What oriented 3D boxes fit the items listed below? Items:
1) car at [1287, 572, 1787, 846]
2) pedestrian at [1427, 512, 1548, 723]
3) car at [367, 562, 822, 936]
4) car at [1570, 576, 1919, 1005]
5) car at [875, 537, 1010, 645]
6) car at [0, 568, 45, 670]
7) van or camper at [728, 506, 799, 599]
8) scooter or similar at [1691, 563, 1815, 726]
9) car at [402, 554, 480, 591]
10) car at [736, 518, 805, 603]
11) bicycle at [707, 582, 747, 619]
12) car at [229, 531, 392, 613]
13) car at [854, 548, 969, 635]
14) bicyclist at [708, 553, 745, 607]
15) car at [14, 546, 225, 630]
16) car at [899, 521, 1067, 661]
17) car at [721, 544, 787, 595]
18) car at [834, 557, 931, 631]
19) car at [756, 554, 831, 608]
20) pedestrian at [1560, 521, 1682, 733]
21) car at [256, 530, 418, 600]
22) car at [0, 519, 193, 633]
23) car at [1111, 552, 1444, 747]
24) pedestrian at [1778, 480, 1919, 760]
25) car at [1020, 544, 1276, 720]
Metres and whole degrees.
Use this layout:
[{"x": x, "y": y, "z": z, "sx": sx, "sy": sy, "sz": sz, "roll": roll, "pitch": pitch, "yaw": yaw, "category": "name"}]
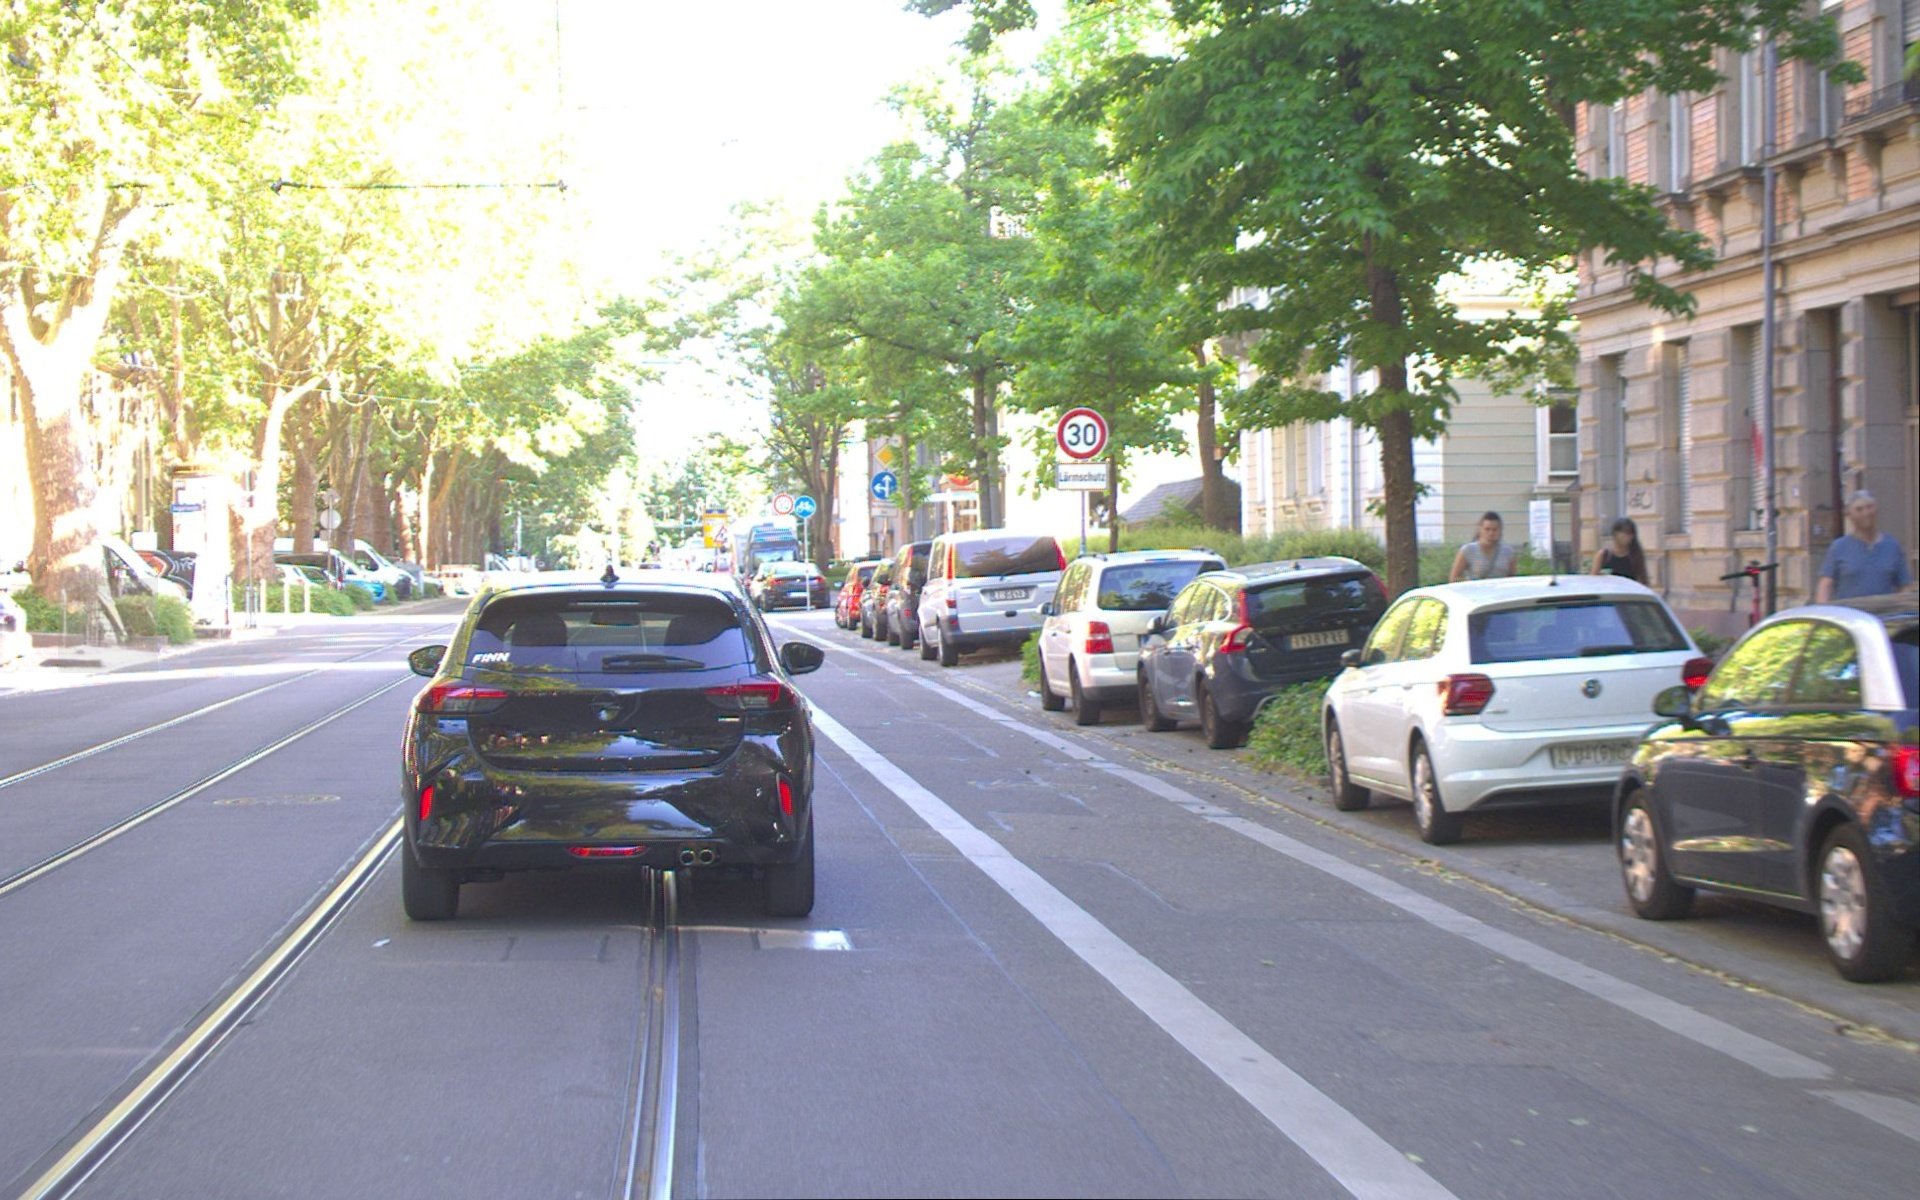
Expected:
[{"x": 3.298, "y": 0.563, "z": 20.497, "sx": 1.884, "sy": 1.363, "sz": 4.108, "roll": -3, "pitch": 1, "yaw": -5, "category": "car"}, {"x": 4.296, "y": 0.137, "z": 28.051, "sx": 0.726, "sy": 1.687, "sz": 0.957, "roll": 0, "pitch": 0, "yaw": -8, "category": "pedestrian"}, {"x": -1.601, "y": 0.564, "z": 15.403, "sx": 1.763, "sy": 1.455, "sz": 3.951, "roll": 0, "pitch": 0, "yaw": -5, "category": "car"}, {"x": 3.896, "y": 0.652, "z": 14.004, "sx": 1.672, "sy": 1.407, "sz": 3.843, "roll": -3, "pitch": 1, "yaw": -7, "category": "car"}, {"x": -0.340, "y": -0.173, "z": 59.196, "sx": 1.885, "sy": 1.760, "sz": 4.679, "roll": -1, "pitch": 1, "yaw": -5, "category": "car"}, {"x": -15.503, "y": 0.262, "z": 50.005, "sx": 3.986, "sy": 1.460, "sz": 1.854, "roll": 0, "pitch": 0, "yaw": -5, "category": "car"}, {"x": -7.099, "y": -1.706, "z": 123.468, "sx": 2.254, "sy": 3.205, "sz": 5.532, "roll": -2, "pitch": 1, "yaw": -5, "category": "van or camper"}, {"x": 6.222, "y": 0.336, "z": 27.016, "sx": 0.575, "sy": 1.242, "sz": 1.335, "roll": 0, "pitch": 0, "yaw": -4, "category": "scooter or similar"}, {"x": -28.729, "y": -1.507, "z": 190.256, "sx": 3.987, "sy": 2.007, "sz": 2.000, "roll": 0, "pitch": 0, "yaw": 1, "category": "car"}, {"x": -6.460, "y": -1.367, "z": 116.935, "sx": 2.085, "sy": 2.762, "sz": 4.698, "roll": -2, "pitch": 1, "yaw": -5, "category": "car"}, {"x": -6.447, "y": -0.006, "z": 95.131, "sx": 0.967, "sy": 0.995, "sz": 2.583, "roll": 0, "pitch": 0, "yaw": -7, "category": "bicycle"}, {"x": -21.695, "y": -0.932, "z": 115.029, "sx": 5.035, "sy": 2.366, "sz": 2.081, "roll": -4, "pitch": 1, "yaw": -5, "category": "car"}, {"x": -0.949, "y": -0.180, "z": 64.969, "sx": 1.711, "sy": 1.509, "sz": 4.037, "roll": -3, "pitch": 1, "yaw": -7, "category": "car"}, {"x": -6.452, "y": -0.550, "z": 95.105, "sx": 0.958, "sy": 1.494, "sz": 1.094, "roll": 0, "pitch": 0, "yaw": -7, "category": "bicyclist"}, {"x": -18.355, "y": -0.270, "z": 75.242, "sx": 4.298, "sy": 1.795, "sz": 1.926, "roll": 0, "pitch": 1, "yaw": -8, "category": "car"}, {"x": 0.278, "y": -0.151, "z": 50.208, "sx": 1.884, "sy": 1.845, "sz": 4.968, "roll": -3, "pitch": 1, "yaw": -5, "category": "car"}, {"x": -7.859, "y": -1.162, "z": 130.634, "sx": 2.254, "sy": 1.834, "sz": 5.532, "roll": -2, "pitch": 1, "yaw": -5, "category": "car"}, {"x": -1.682, "y": -0.144, "z": 73.650, "sx": 1.702, "sy": 1.418, "sz": 3.979, "roll": -4, "pitch": 1, "yaw": -5, "category": "car"}, {"x": -4.852, "y": -0.555, "z": 99.562, "sx": 1.884, "sy": 1.429, "sz": 4.531, "roll": -3, "pitch": 1, "yaw": -5, "category": "car"}, {"x": 5.400, "y": 0.214, "z": 28.124, "sx": 0.726, "sy": 1.703, "sz": 0.856, "roll": 0, "pitch": 0, "yaw": -9, "category": "pedestrian"}, {"x": -23.116, "y": -1.297, "z": 127.669, "sx": 5.638, "sy": 2.584, "sz": 2.196, "roll": 0, "pitch": 0, "yaw": -1, "category": "car"}, {"x": -18.104, "y": -0.493, "z": 69.254, "sx": 5.032, "sy": 2.251, "sz": 2.086, "roll": 0, "pitch": 1, "yaw": -8, "category": "car"}, {"x": 2.650, "y": 0.375, "z": 29.839, "sx": 1.883, "sy": 1.462, "sz": 4.595, "roll": -3, "pitch": 1, "yaw": -7, "category": "car"}, {"x": 5.808, "y": 0.125, "z": 22.365, "sx": 0.726, "sy": 1.787, "sz": 0.600, "roll": 0, "pitch": 0, "yaw": -35, "category": "pedestrian"}, {"x": 1.813, "y": 0.281, "z": 34.496, "sx": 1.884, "sy": 1.562, "sz": 4.243, "roll": -3, "pitch": 1, "yaw": -5, "category": "car"}]
